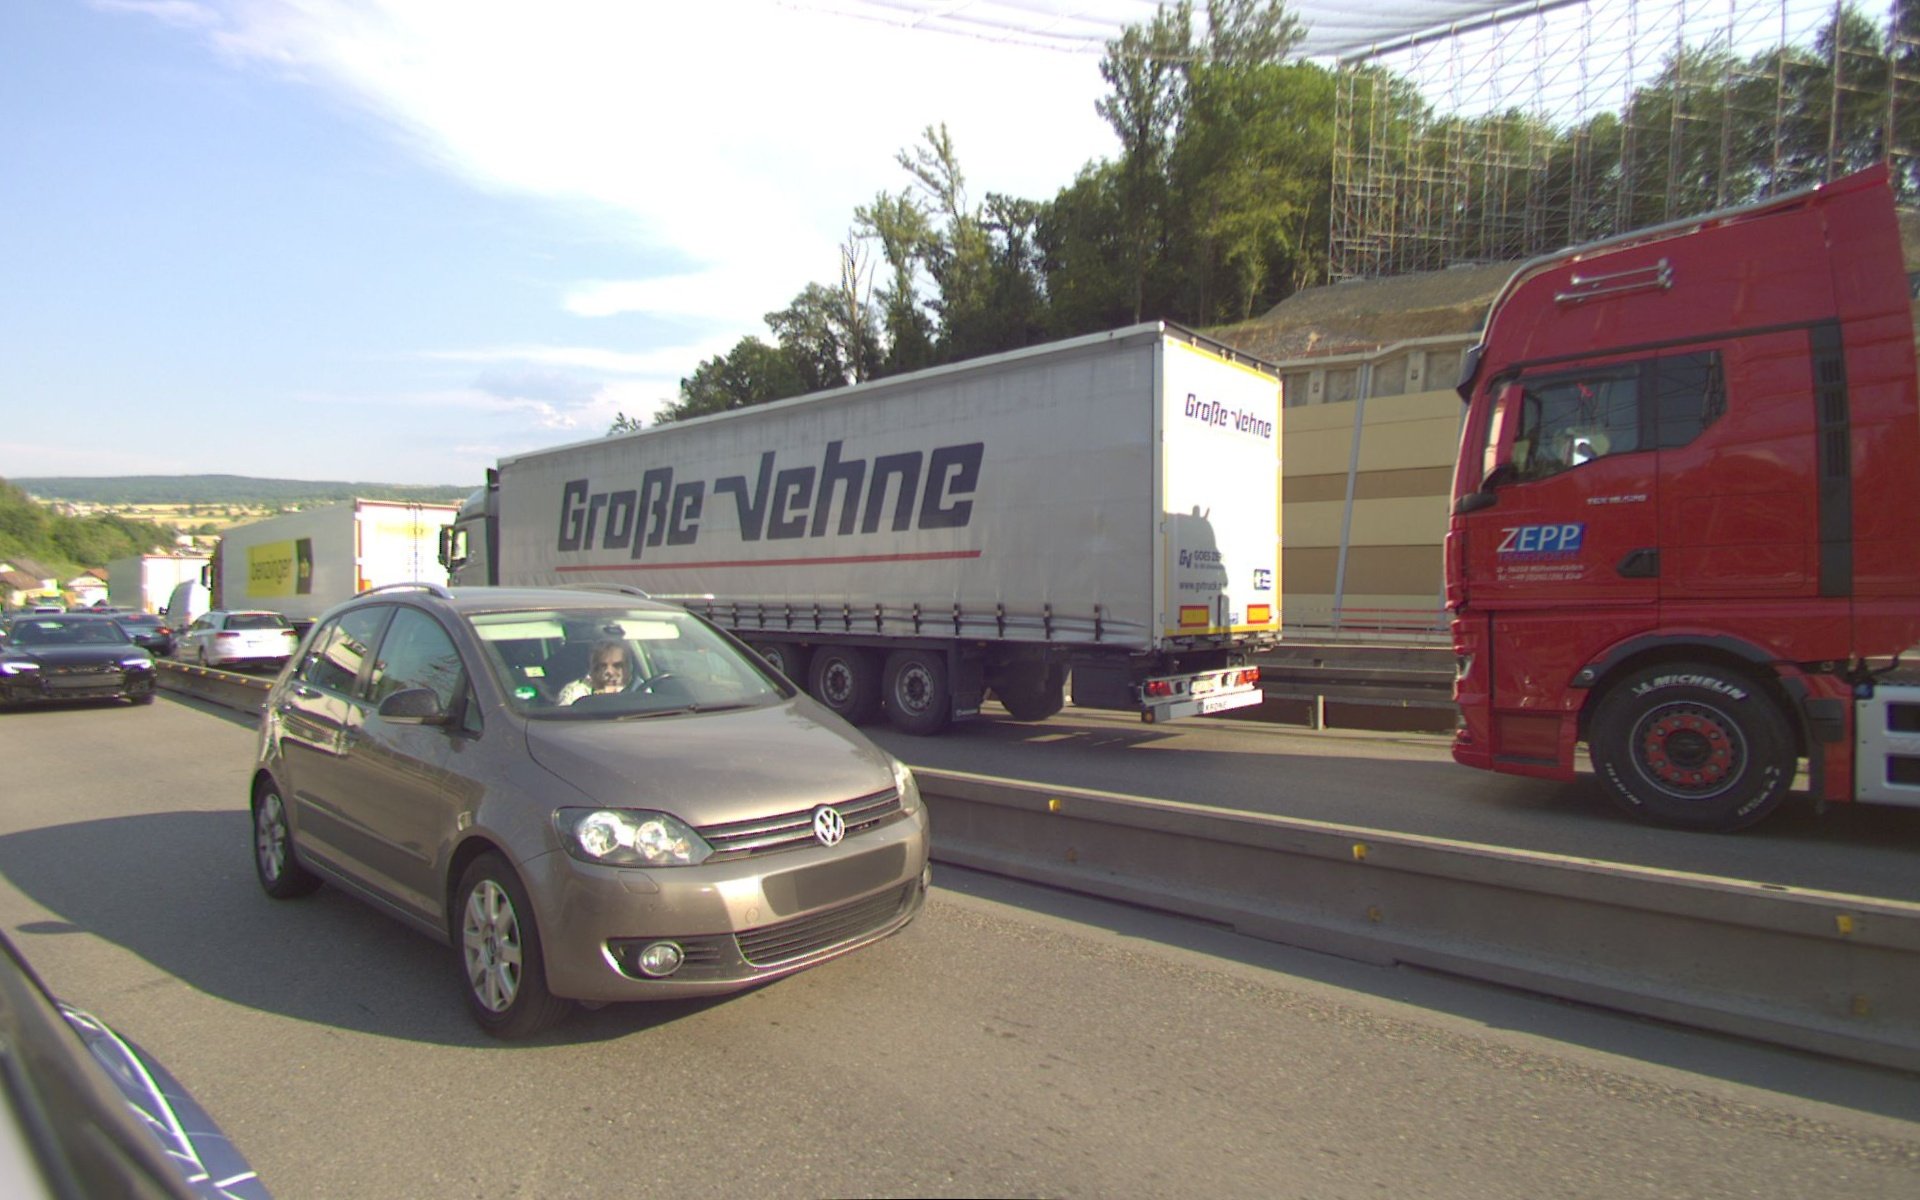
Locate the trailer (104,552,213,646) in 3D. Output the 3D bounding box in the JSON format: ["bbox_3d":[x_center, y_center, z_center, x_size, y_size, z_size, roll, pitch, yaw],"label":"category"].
[{"bbox_3d":[-40.909,-0.012,51.397,13.755,4.250,2.690,0,0,45],"label":"trailer"}]

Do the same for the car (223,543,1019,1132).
[{"bbox_3d":[-1.854,0.644,4.705,4.097,1.585,1.666,0,0,41],"label":"car"}]

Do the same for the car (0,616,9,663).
[{"bbox_3d":[-30.682,1.235,31.393,1.674,1.409,4.003,-2,0,-43],"label":"car"}]

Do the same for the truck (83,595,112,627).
[{"bbox_3d":[-98.578,1.236,115.682,2.417,3.489,7.628,1,-1,-41],"label":"truck"}]

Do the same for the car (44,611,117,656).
[{"bbox_3d":[-34.866,1.302,40.086,4.863,1.670,1.733,-1,-1,44],"label":"car"}]

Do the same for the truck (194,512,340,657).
[{"bbox_3d":[-22.845,-0.452,33.256,5.934,4.332,2.715,0,0,43],"label":"truck"}]

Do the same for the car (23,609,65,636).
[{"bbox_3d":[-57.748,1.412,63.767,1.847,1.601,4.808,-2,0,-43],"label":"car"}]

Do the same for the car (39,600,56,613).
[{"bbox_3d":[-144.622,1.061,160.375,1.795,2.015,4.760,3,-3,-42],"label":"car"}]

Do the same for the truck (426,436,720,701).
[{"bbox_3d":[-7.380,-0.483,18.944,5.932,4.172,2.758,0,0,42],"label":"truck"}]

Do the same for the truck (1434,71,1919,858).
[{"bbox_3d":[6.675,-0.725,5.860,6.671,4.172,2.760,0,0,39],"label":"truck"}]

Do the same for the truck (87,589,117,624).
[{"bbox_3d":[-107.448,0.792,126.816,2.673,4.119,14.177,1,-1,-40],"label":"truck"}]

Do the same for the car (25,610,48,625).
[{"bbox_3d":[-106.400,2.006,116.602,1.795,1.591,4.760,3,-3,-42],"label":"car"}]

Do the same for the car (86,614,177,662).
[{"bbox_3d":[-27.215,1.200,33.189,4.892,1.388,1.712,-1,1,44],"label":"car"}]

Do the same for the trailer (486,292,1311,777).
[{"bbox_3d":[-2.363,-0.529,14.414,13.963,4.172,2.769,0,0,42],"label":"trailer"}]

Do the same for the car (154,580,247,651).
[{"bbox_3d":[-31.459,0.650,41.813,6.952,2.710,1.999,-2,0,45],"label":"car"}]

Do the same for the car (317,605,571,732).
[{"bbox_3d":[-7.319,0.850,14.161,4.398,1.475,1.633,-1,1,41],"label":"car"}]

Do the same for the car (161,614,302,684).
[{"bbox_3d":[-17.395,1.092,24.063,4.836,1.450,1.714,-1,0,42],"label":"car"}]

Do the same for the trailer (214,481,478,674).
[{"bbox_3d":[-17.830,-0.472,28.582,13.881,4.366,2.736,0,0,43],"label":"trailer"}]

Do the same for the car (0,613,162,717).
[{"bbox_3d":[-14.238,0.933,16.038,3.999,1.409,1.842,0,-1,42],"label":"car"}]

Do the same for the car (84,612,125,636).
[{"bbox_3d":[-54.518,1.528,64.471,1.723,1.471,4.717,0,-1,-44],"label":"car"}]

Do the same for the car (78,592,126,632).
[{"bbox_3d":[-66.391,0.915,78.260,2.307,2.940,7.638,1,-1,-44],"label":"car"}]
